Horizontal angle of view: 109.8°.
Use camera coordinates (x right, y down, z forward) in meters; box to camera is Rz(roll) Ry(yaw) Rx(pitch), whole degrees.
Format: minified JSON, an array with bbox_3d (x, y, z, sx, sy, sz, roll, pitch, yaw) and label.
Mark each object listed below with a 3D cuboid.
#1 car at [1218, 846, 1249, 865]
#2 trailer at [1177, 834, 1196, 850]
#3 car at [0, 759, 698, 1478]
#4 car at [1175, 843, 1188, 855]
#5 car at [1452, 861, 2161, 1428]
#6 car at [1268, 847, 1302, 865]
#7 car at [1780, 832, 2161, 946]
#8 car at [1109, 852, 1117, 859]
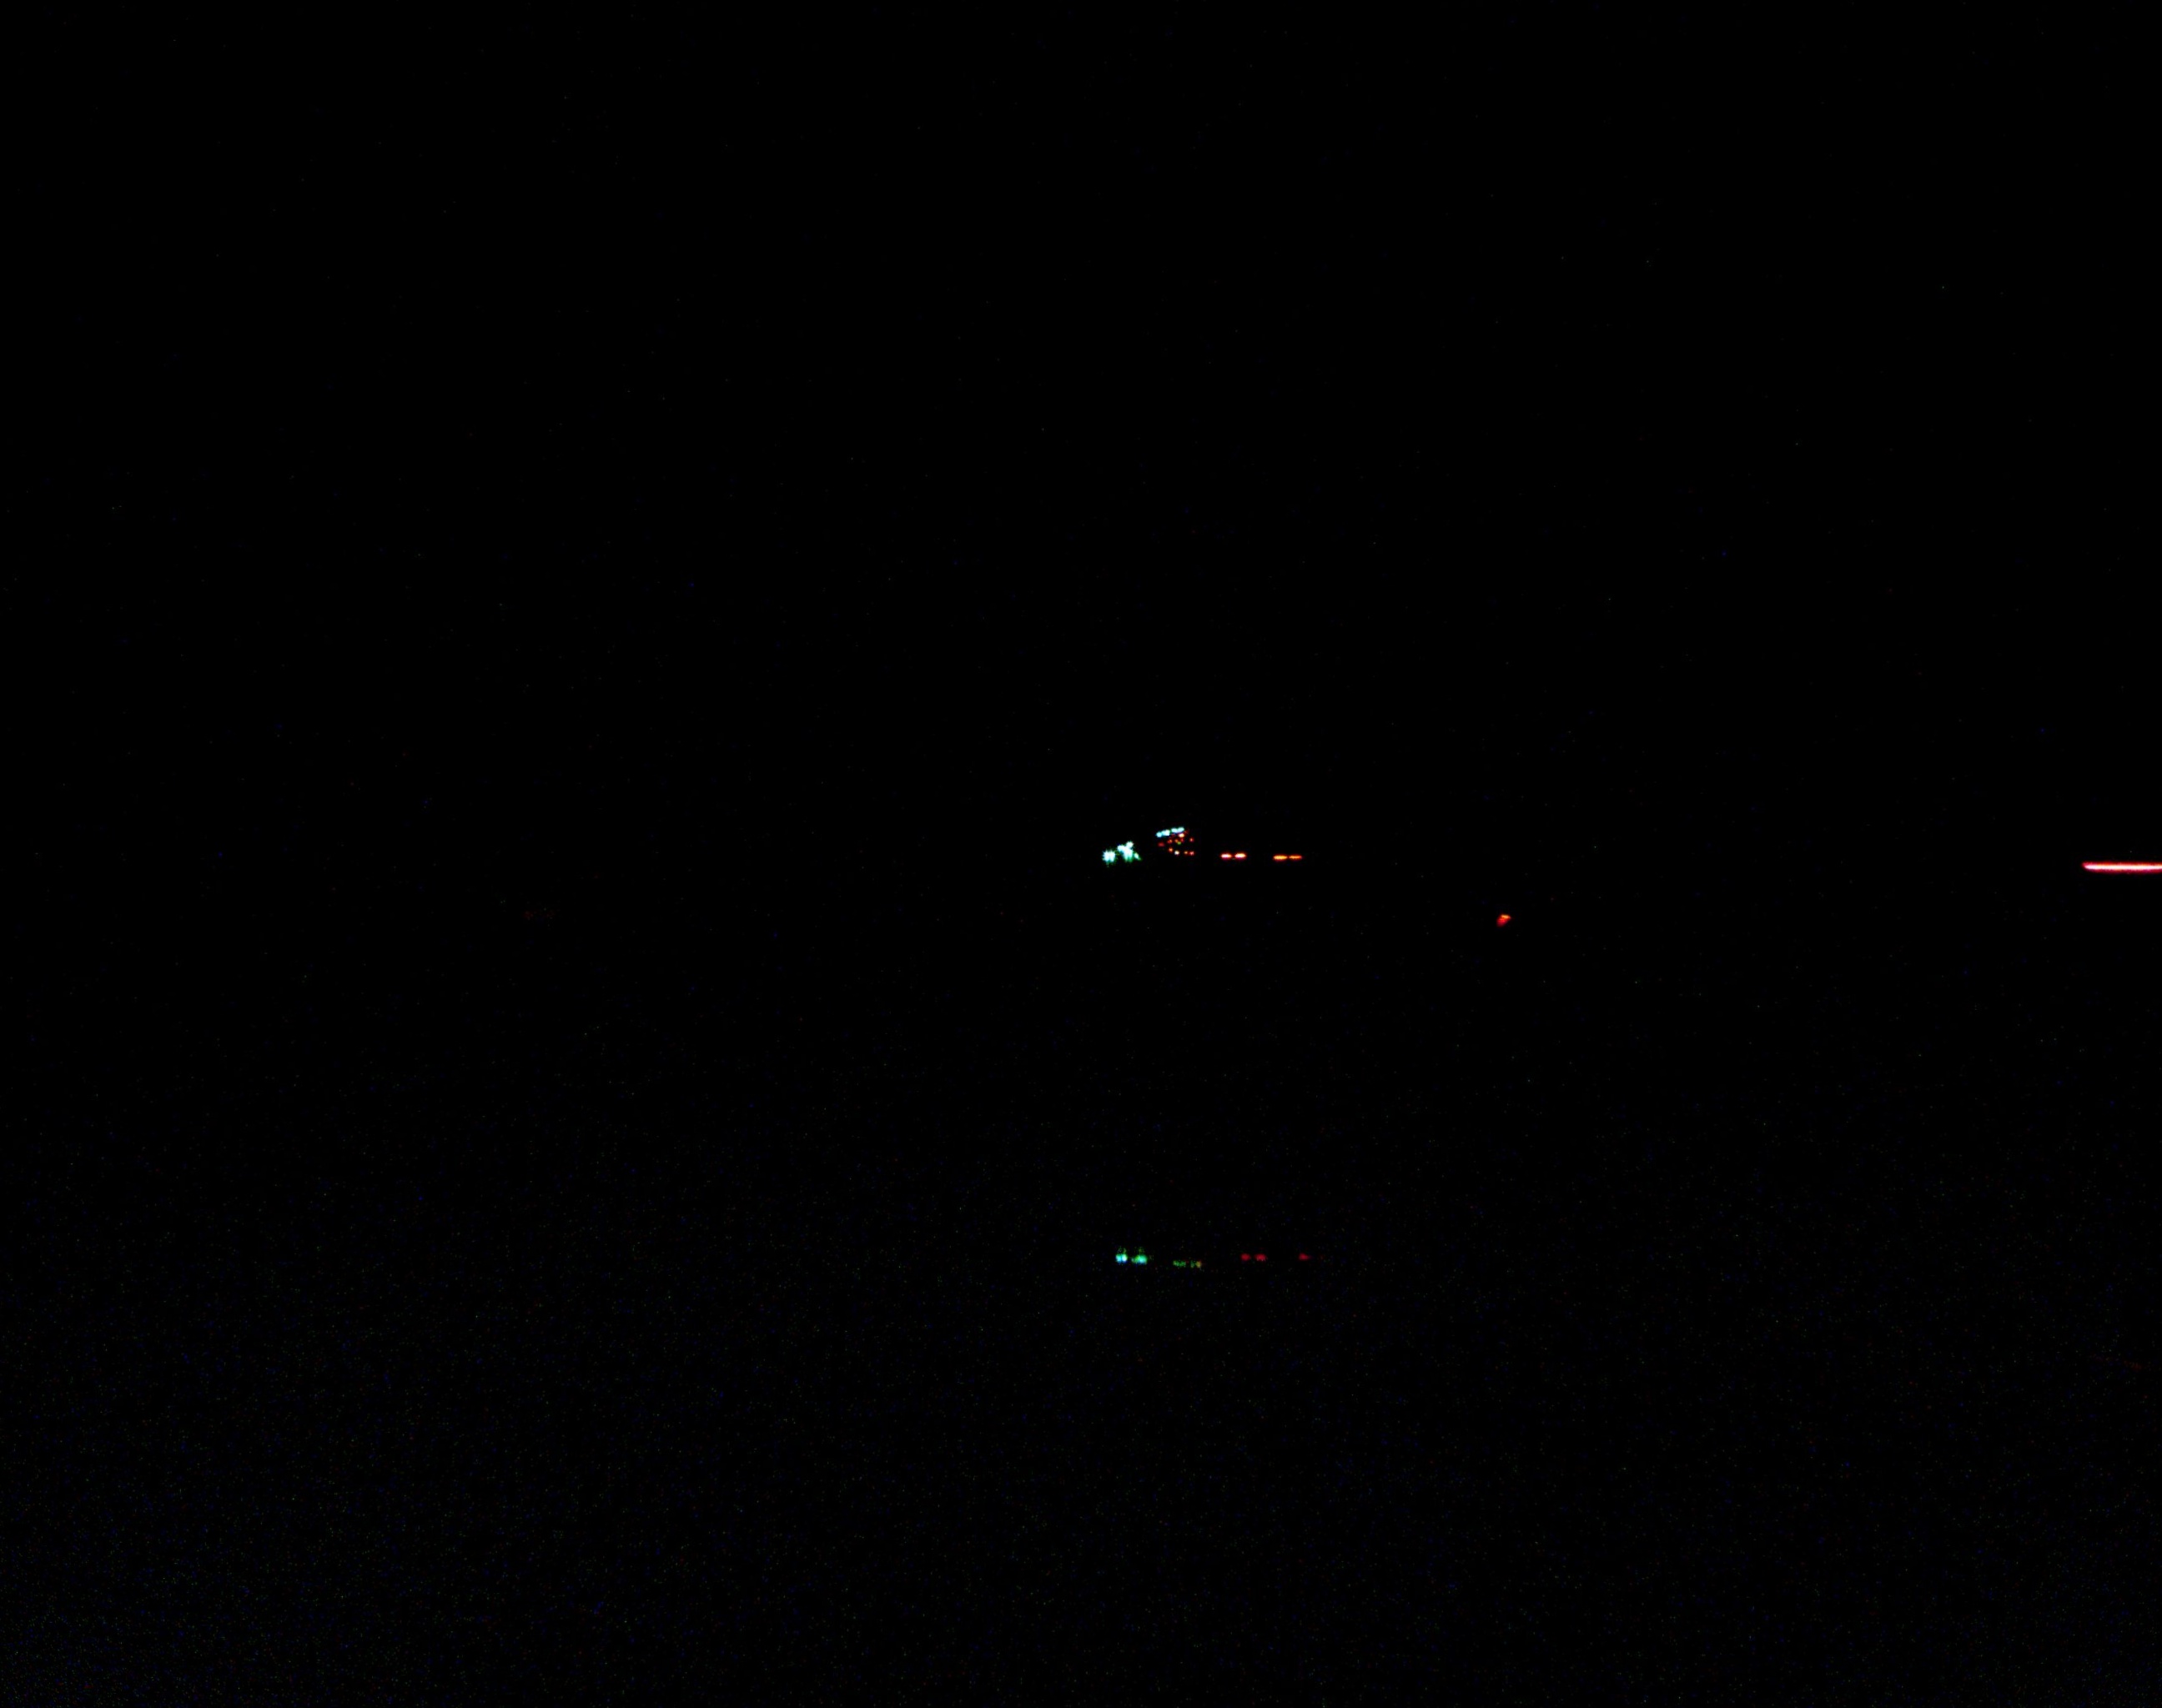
[{"bbox_3d":[13.769,0.135,68.852,2.015,1.660,4.483,-2,0,2],"label":"car"},{"bbox_3d":[27.469,-3.005,198.071,3.438,3.957,13.811,-2,1,2],"label":"trailer"},{"bbox_3d":[-4.046,0.749,2.871,2.120,1.989,5.664,-2,1,2],"label":"car"},{"bbox_3d":[21.202,-1.063,160.357,2.106,2.503,6.216,-2,0,2],"label":"car"},{"bbox_3d":[4.074,0.834,3.623,1.998,1.509,5.652,-2,0,2],"label":"car"},{"bbox_3d":[17.770,0.128,66.316,2.015,1.459,4.209,-2,0,3],"label":"car"},{"bbox_3d":[15.997,0.512,13.879,2.015,1.660,4.949,-2,0,2],"label":"car"},{"bbox_3d":[8.753,0.388,209.613,1.998,1.653,4.001,-2,0,4],"label":"car"}]
